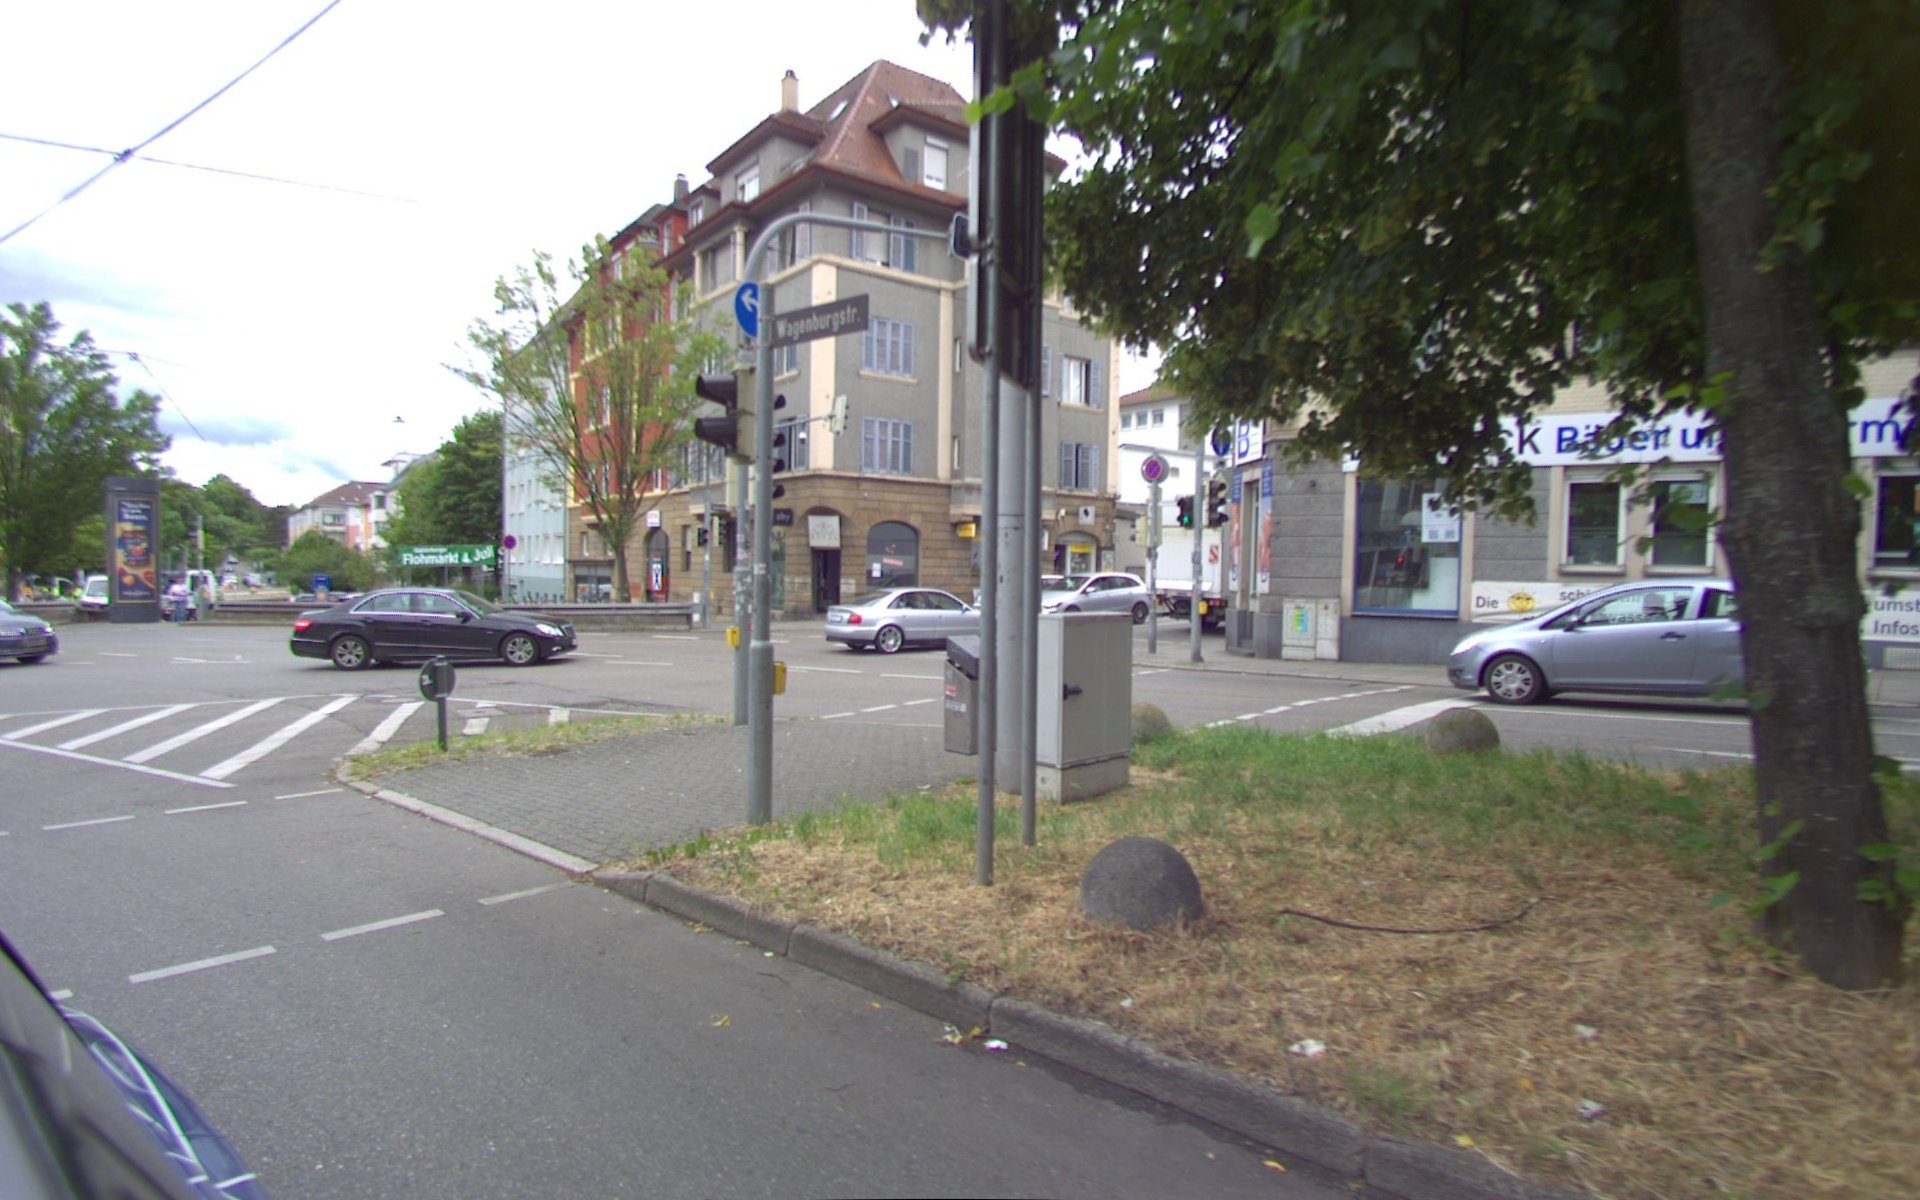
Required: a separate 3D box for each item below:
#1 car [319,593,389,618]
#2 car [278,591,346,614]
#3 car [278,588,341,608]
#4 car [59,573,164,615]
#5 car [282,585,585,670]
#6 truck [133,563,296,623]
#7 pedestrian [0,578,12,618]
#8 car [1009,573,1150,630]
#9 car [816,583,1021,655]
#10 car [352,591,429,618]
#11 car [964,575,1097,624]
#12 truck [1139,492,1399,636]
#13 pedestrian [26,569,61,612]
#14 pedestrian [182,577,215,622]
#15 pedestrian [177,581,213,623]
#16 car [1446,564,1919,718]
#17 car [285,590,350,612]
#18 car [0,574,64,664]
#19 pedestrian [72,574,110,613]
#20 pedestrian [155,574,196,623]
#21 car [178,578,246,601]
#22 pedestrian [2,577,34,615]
[{"bbox_3d":[-42.929,0.374,71.779,3.870,1.610,1.897,0,2,-9],"label":"car"},{"bbox_3d":[-49.174,0.178,76.860,3.870,1.610,1.897,0,2,-9],"label":"car"},{"bbox_3d":[-53.207,-0.178,82.792,3.870,1.610,1.897,0,2,-9],"label":"car"},{"bbox_3d":[-34.785,-0.303,41.652,2.174,1.583,4.493,-1,2,-24],"label":"car"},{"bbox_3d":[-9.624,0.457,18.856,4.664,1.430,1.845,0,2,-8],"label":"car"},{"bbox_3d":[-36.562,-0.285,49.966,2.741,2.744,6.437,-1,-1,9],"label":"truck"},{"bbox_3d":[-39.919,-0.099,41.880,0.854,1.631,0.921,-1,2,-34],"label":"pedestrian"},{"bbox_3d":[3.481,-0.011,29.246,3.988,1.484,1.656,-2,3,-36],"label":"car"},{"bbox_3d":[-0.875,0.351,22.230,4.195,1.352,1.712,-2,3,-31],"label":"car"},{"bbox_3d":[-36.678,0.265,65.275,3.870,1.610,1.897,0,2,-9],"label":"car"},{"bbox_3d":[2.259,-0.056,32.086,3.895,1.441,1.801,-1,2,-33],"label":"car"},{"bbox_3d":[9.035,-1.022,28.986,8.377,3.601,2.717,-2,3,-37],"label":"truck"},{"bbox_3d":[-34.985,-0.374,38.625,0.759,1.631,0.652,-1,2,-20],"label":"pedestrian"},{"bbox_3d":[-24.758,-0.014,32.912,0.595,1.443,0.603,0,2,10],"label":"pedestrian"},{"bbox_3d":[-25.222,0.072,33.372,0.622,1.351,0.662,0,2,10],"label":"pedestrian"},{"bbox_3d":[7.917,0.408,11.218,4.292,1.417,1.652,-1,-1,41],"label":"car"},{"bbox_3d":[-50.521,0.074,79.594,3.870,1.610,1.897,0,2,-9],"label":"car"},{"bbox_3d":[-19.799,0.378,19.094,4.678,1.626,1.853,-1,2,11],"label":"car"},{"bbox_3d":[-44.679,-0.363,52.040,1.258,1.973,0.923,1,2,20],"label":"pedestrian"},{"bbox_3d":[-25.991,-0.057,33.534,0.794,1.595,0.704,0,2,9],"label":"pedestrian"},{"bbox_3d":[-58.922,-0.872,79.767,1.879,1.717,3.908,1,2,20],"label":"car"},{"bbox_3d":[-40.876,-0.176,43.926,0.854,1.631,0.921,-1,2,-34],"label":"pedestrian"}]
